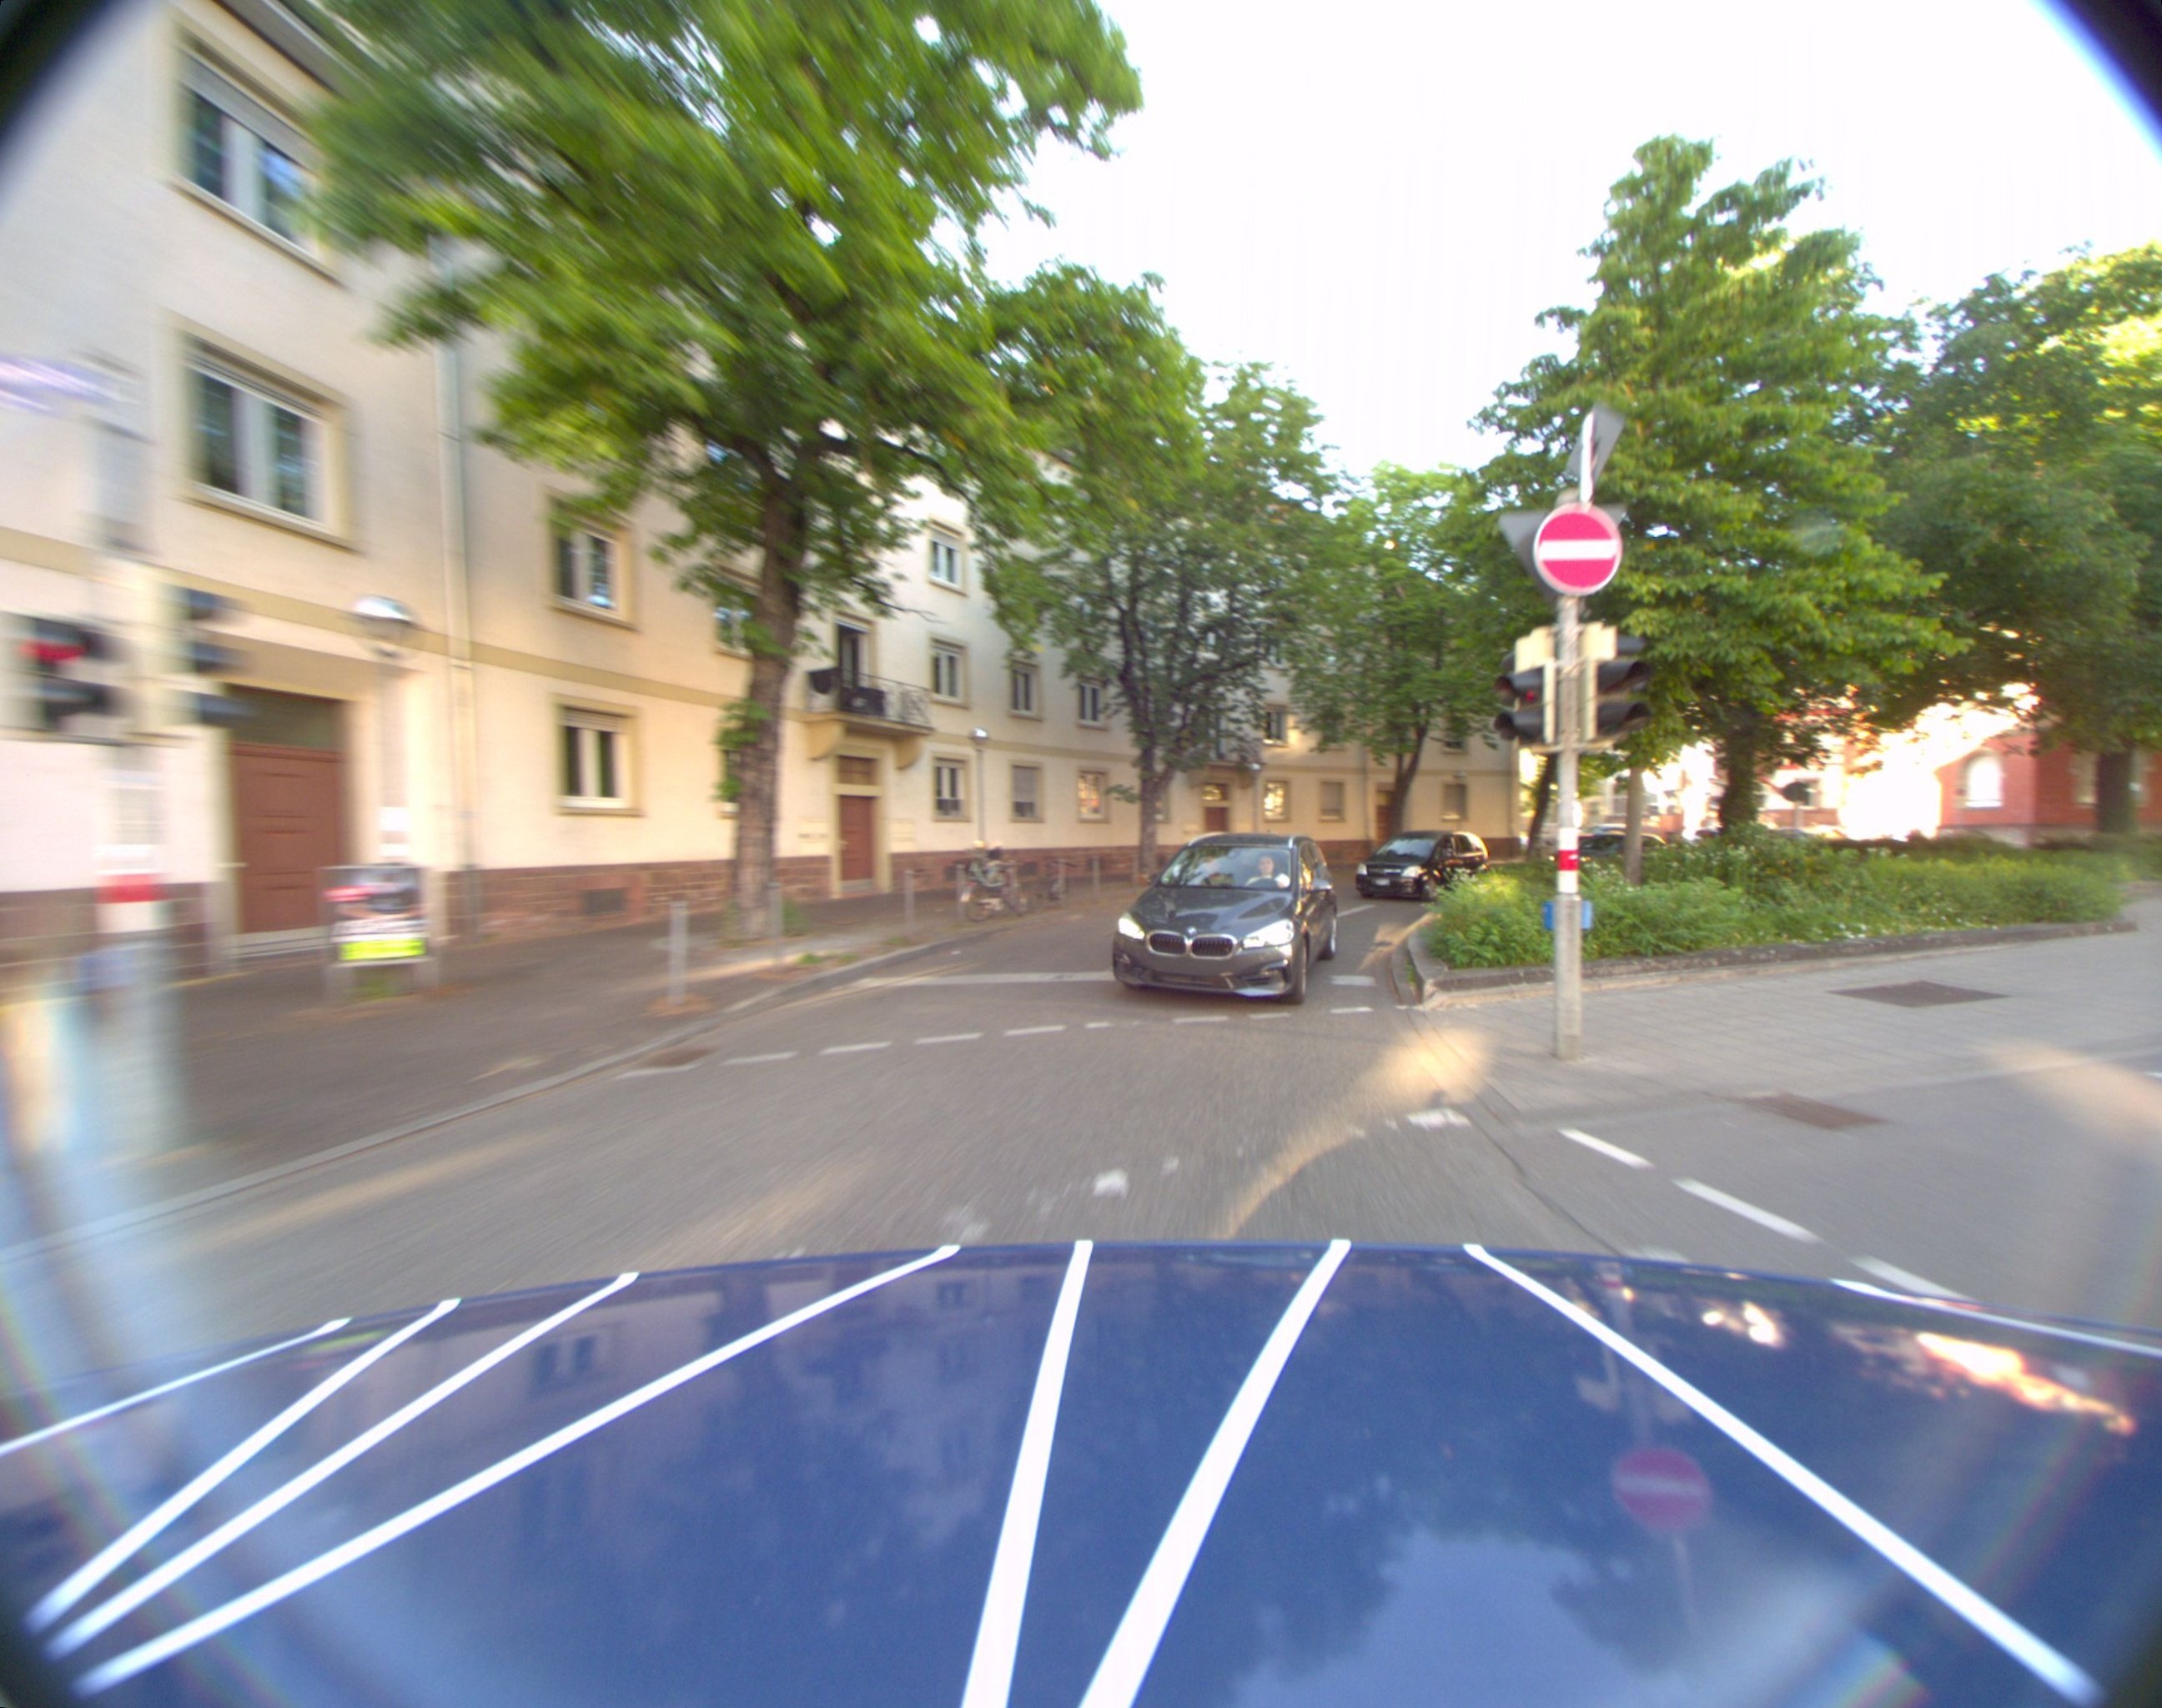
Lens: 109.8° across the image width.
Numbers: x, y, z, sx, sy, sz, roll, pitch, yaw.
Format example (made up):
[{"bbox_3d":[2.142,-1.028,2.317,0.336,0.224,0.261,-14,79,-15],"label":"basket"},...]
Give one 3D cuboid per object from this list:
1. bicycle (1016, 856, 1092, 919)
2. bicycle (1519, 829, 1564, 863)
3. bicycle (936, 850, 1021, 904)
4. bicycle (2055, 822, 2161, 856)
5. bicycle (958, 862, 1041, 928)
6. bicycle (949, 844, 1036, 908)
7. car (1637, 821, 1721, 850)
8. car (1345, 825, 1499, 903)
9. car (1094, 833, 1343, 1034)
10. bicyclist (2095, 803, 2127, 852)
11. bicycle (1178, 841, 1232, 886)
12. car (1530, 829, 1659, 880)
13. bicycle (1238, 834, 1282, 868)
[{"bbox_3d":[-0.511,0.638,15.154,0.526,1.101,1.744,4,4,35],"label":"bicycle"},{"bbox_3d":[18.523,-0.346,30.558,1.906,1.298,0.766,-2,3,-33],"label":"bicycle"},{"bbox_3d":[-2.307,0.495,17.388,0.667,1.101,1.970,1,2,40],"label":"bicycle"},{"bbox_3d":[33.067,-0.493,24.490,0.639,1.051,1.977,-2,2,-30],"label":"bicycle"},{"bbox_3d":[-1.446,0.710,13.780,0.480,1.058,1.639,4,4,37],"label":"bicycle"},{"bbox_3d":[-1.931,0.446,16.780,0.717,1.270,1.970,3,4,39],"label":"bicycle"},{"bbox_3d":[33.501,-1.050,42.745,1.804,1.544,4.187,0,2,7],"label":"car"},{"bbox_3d":[8.088,0.142,17.933,3.694,1.620,1.675,-2,4,-36],"label":"car"},{"bbox_3d":[1.806,0.597,8.508,1.790,1.570,4.266,1,3,24],"label":"car"},{"bbox_3d":[33.081,-0.847,24.405,0.496,1.565,0.500,-2,3,-28],"label":"bicyclist"},{"bbox_3d":[3.377,0.236,20.531,0.513,1.090,1.977,3,4,39],"label":"bicycle"},{"bbox_3d":[15.877,-0.031,23.493,3.692,1.401,1.676,-2,4,-27],"label":"car"},{"bbox_3d":[6.067,-0.120,25.710,0.800,1.112,1.862,1,2,35],"label":"bicycle"}]
